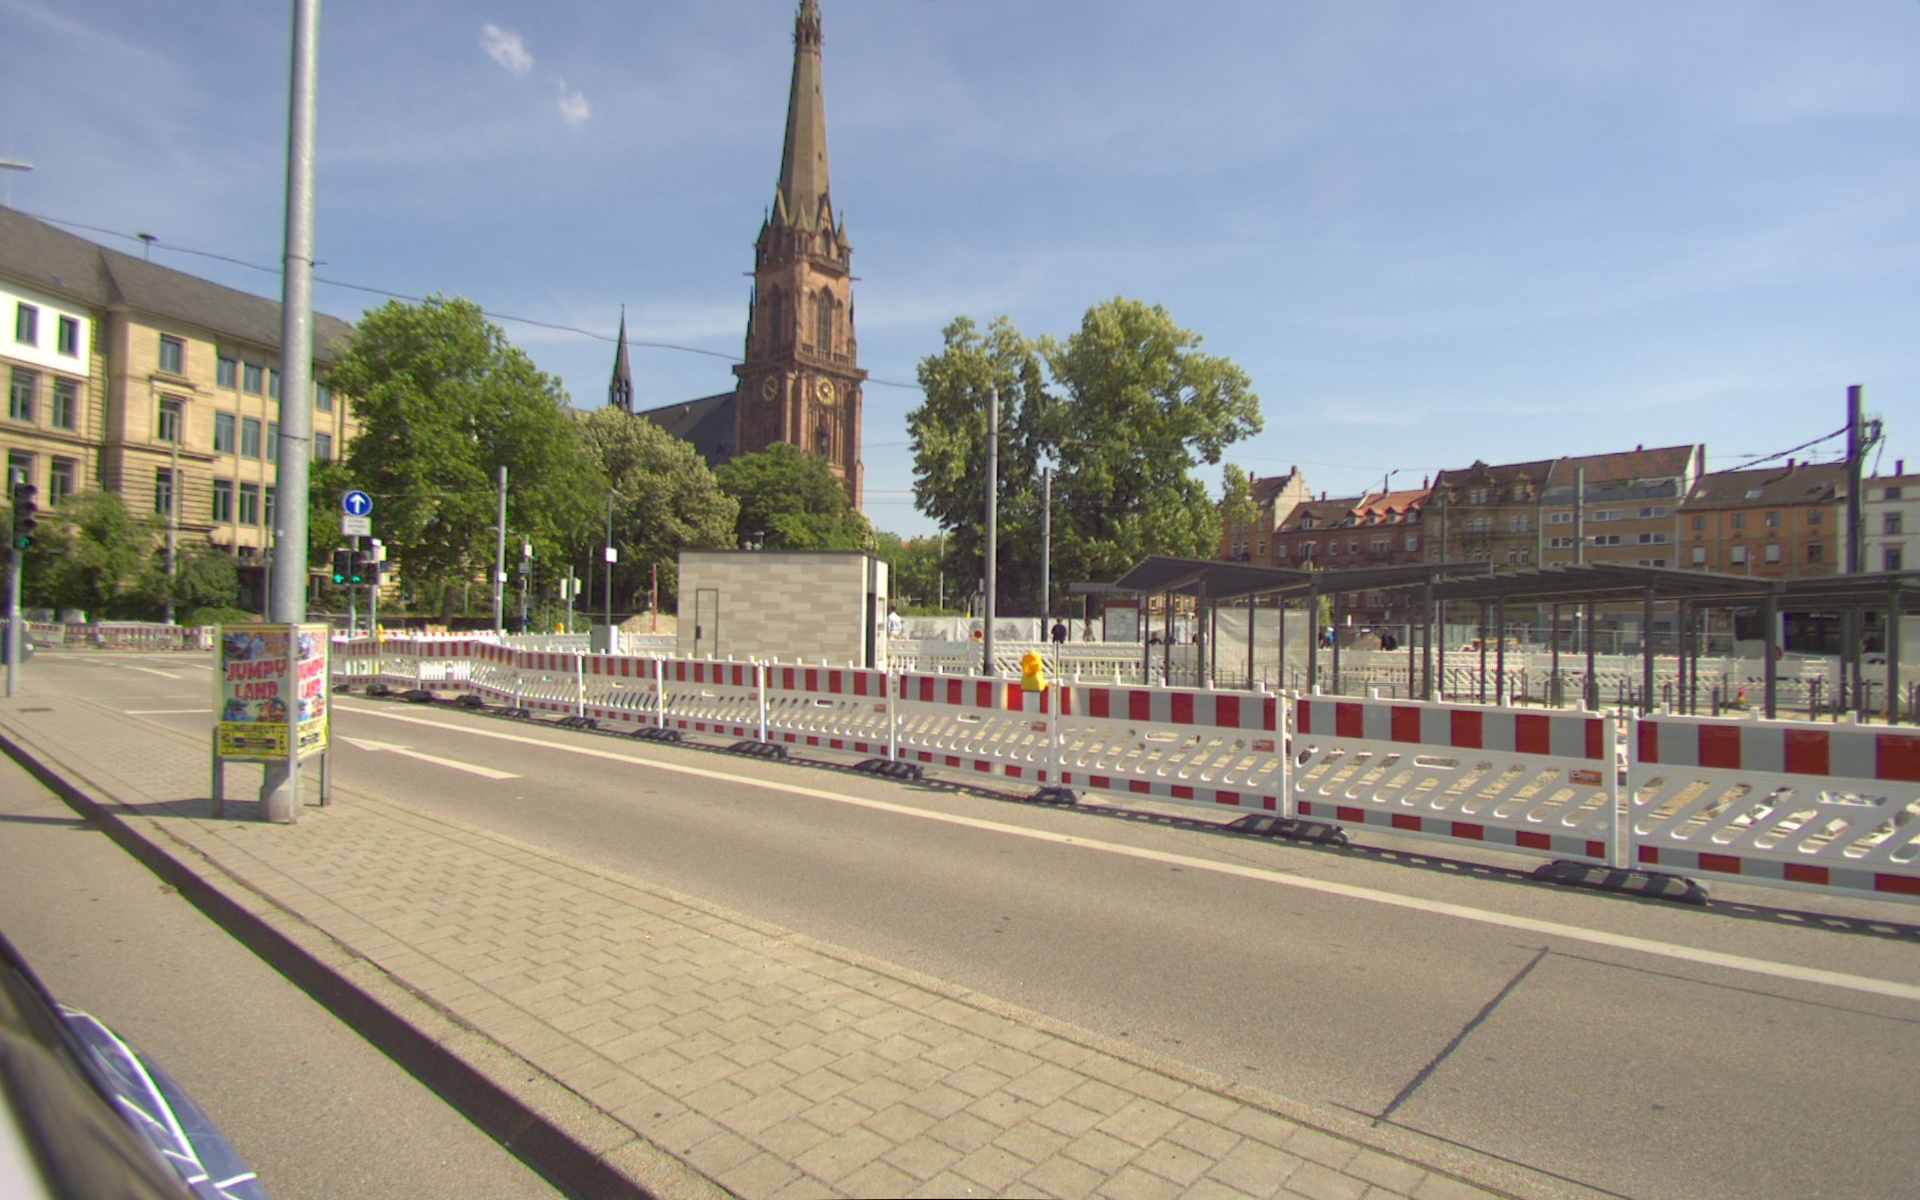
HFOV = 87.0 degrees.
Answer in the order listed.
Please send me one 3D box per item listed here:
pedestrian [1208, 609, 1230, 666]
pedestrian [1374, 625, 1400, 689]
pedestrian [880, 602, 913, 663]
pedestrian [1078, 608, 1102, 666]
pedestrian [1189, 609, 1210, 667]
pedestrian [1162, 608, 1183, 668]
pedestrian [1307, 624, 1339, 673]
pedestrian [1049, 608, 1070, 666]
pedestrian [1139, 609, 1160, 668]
[{"bbox_3d":[9.365,1.363,36.624,0.679,2.029,0.818,1,-2,11],"label":"pedestrian"},{"bbox_3d":[13.996,1.859,33.158,0.680,2.029,0.816,0,-2,16],"label":"pedestrian"},{"bbox_3d":[-2.157,1.098,34.369,0.686,2.029,0.809,-1,-3,43],"label":"pedestrian"},{"bbox_3d":[4.629,1.306,36.095,0.810,2.029,0.685,1,-2,6],"label":"pedestrian"},{"bbox_3d":[8.547,1.342,36.157,0.679,2.029,0.818,1,-2,11],"label":"pedestrian"},{"bbox_3d":[7.413,1.324,35.368,0.679,2.029,0.818,1,-2,11],"label":"pedestrian"},{"bbox_3d":[12.702,1.685,35.398,0.733,1.674,0.822,1,-2,-7],"label":"pedestrian"},{"bbox_3d":[3.566,1.309,36.189,0.678,2.029,0.819,1,-2,7],"label":"pedestrian"},{"bbox_3d":[6.649,1.340,35.524,0.679,2.029,0.818,1,-2,11],"label":"pedestrian"}]
